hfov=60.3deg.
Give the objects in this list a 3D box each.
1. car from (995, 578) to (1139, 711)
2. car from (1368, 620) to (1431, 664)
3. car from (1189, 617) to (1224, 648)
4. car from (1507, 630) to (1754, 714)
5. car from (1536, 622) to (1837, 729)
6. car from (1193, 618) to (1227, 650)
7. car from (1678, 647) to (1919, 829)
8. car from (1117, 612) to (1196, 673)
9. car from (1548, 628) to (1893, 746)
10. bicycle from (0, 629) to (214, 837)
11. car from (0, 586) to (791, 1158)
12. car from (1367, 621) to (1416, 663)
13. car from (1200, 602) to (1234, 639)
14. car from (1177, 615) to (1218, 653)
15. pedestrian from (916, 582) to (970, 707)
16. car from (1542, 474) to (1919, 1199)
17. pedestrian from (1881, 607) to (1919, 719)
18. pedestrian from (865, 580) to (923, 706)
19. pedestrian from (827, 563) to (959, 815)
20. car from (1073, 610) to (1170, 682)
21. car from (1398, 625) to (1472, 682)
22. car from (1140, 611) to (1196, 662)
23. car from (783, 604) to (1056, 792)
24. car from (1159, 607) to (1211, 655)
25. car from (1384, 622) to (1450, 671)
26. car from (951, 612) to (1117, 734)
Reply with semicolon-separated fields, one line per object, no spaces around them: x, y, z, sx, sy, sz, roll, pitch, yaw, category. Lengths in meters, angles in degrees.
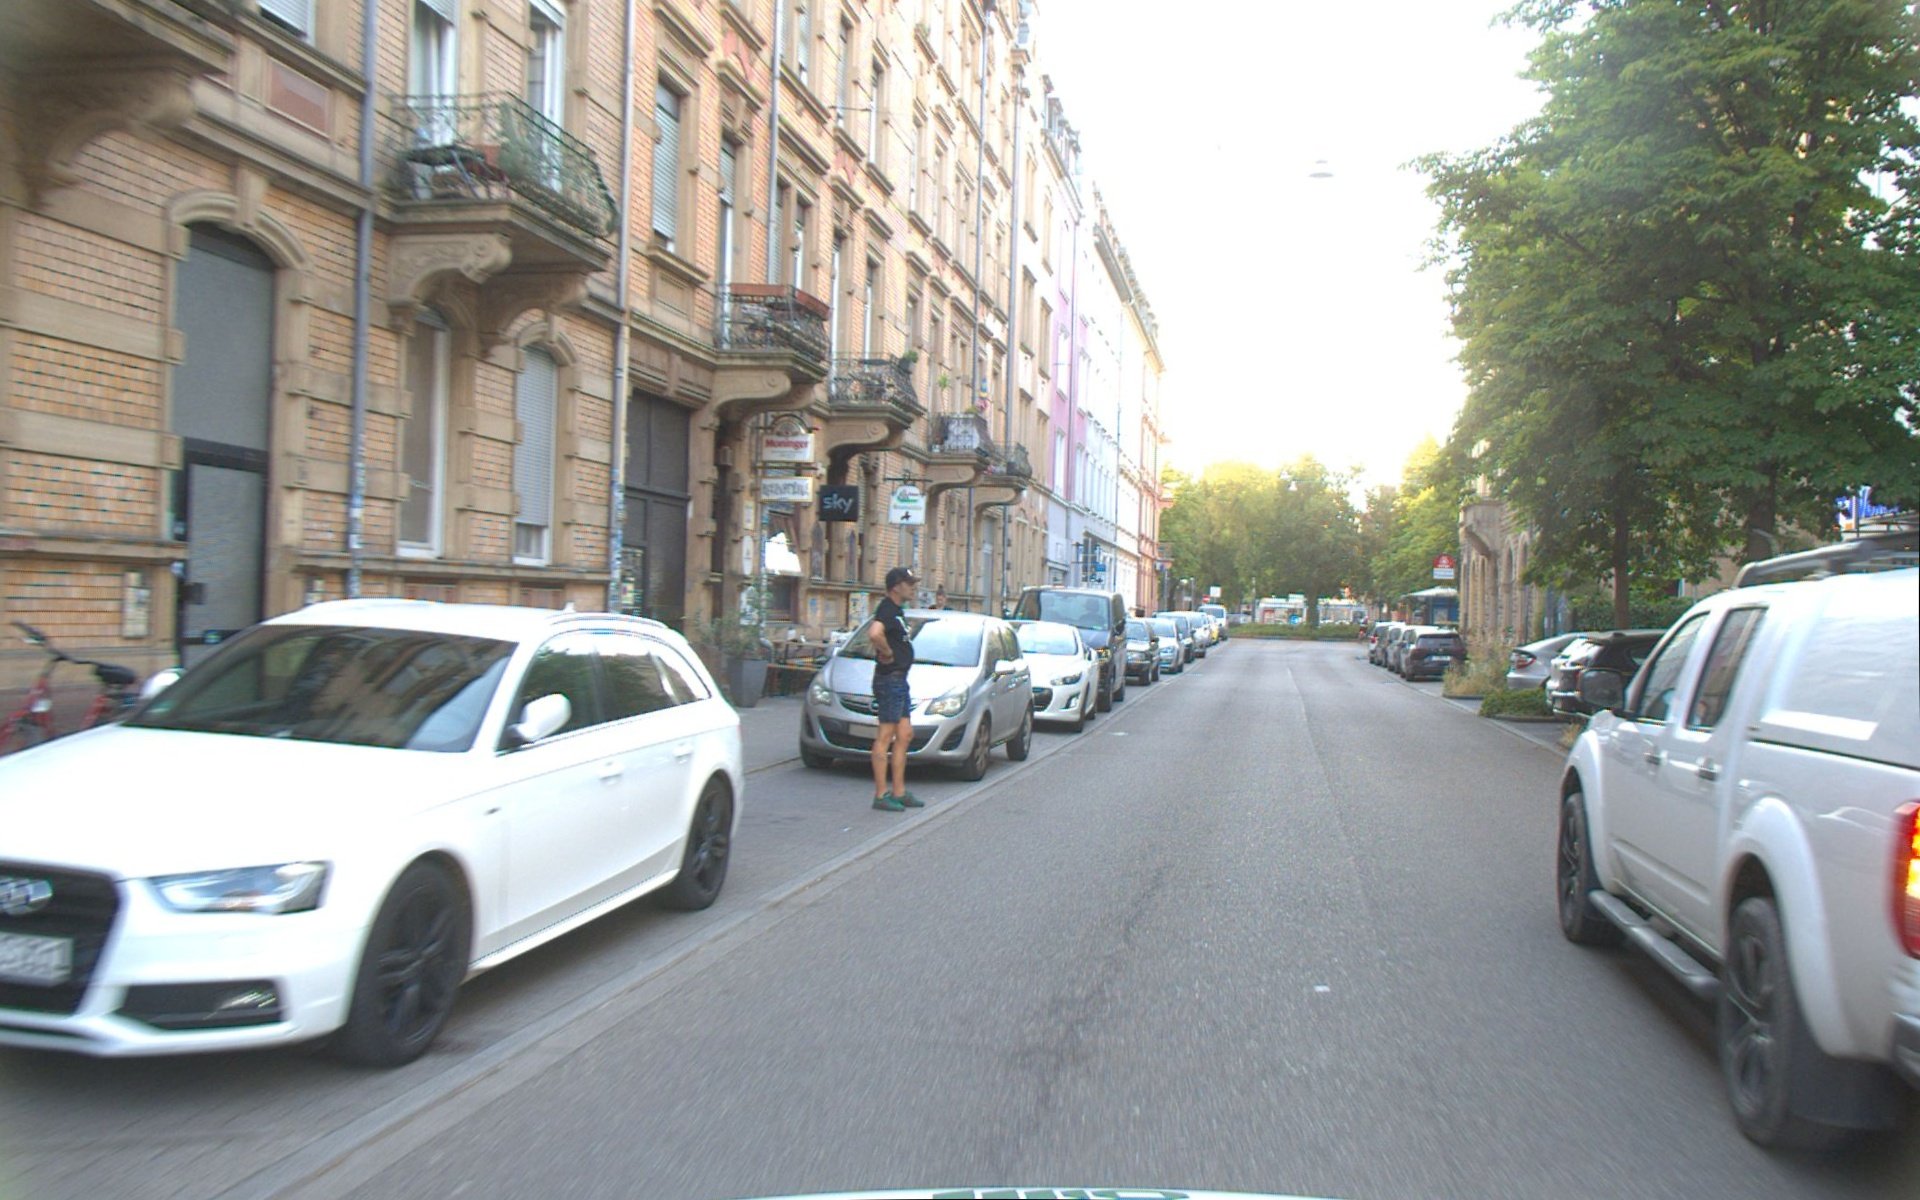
1.947;0.725;28.596;1.951;1.957;4.955;4;0;9;car
15.494;1.464;58.490;1.640;1.482;3.803;-1;-1;7;car
12.541;1.650;84.194;1.662;1.451;4.025;3;0;9;car
12.406;1.327;30.853;3.999;1.478;1.884;-1;-1;13;car
10.677;1.096;24.517;3.713;1.478;1.736;-1;-1;6;car
13.610;1.833;90.030;1.662;1.579;4.025;3;0;9;car
8.899;1.173;14.624;4.329;1.481;1.781;0;-1;5;car
5.585;1.176;46.724;1.795;1.483;4.210;5;0;11;car
10.199;1.139;22.463;3.902;1.481;1.830;0;-1;9;car
-5.026;0.716;9.542;0.580;1.045;1.625;2;0;4;bicycle
-2.202;0.717;6.726;1.721;1.436;4.512;3;0;11;car
16.522;1.583;63.440;1.640;1.527;3.904;-1;-1;13;car
15.197;1.226;98.042;1.772;2.011;4.189;3;0;7;car
11.273;1.610;78.273;1.662;1.649;4.025;3;0;11;car
-0.250;0.659;24.838;0.592;1.803;0.778;4;1;7;pedestrian
3.613;0.718;6.131;1.870;1.885;5.274;2;-1;10;car
15.187;0.994;26.243;0.712;1.746;0.964;0;-1;11;pedestrian
-0.973;0.623;24.619;0.568;1.802;0.998;4;1;7;pedestrian
-0.486;0.652;12.399;0.543;1.786;1.022;2;-2;22;pedestrian
3.737;1.032;37.599;1.700;1.443;4.782;3;-1;11;car
13.424;1.480;46.955;1.640;1.454;4.481;-2;-1;12;car
7.102;1.210;56.248;1.601;1.593;3.784;3;0;10;car
-0.248;0.843;16.081;1.680;1.483;4.003;3;0;12;car
8.497;1.162;62.347;1.805;1.688;4.256;1;-1;8;car
14.672;1.473;53.256;1.640;1.482;4.233;-1;-1;10;car
1.156;0.957;23.477;1.746;1.447;4.489;4;0;9;car
